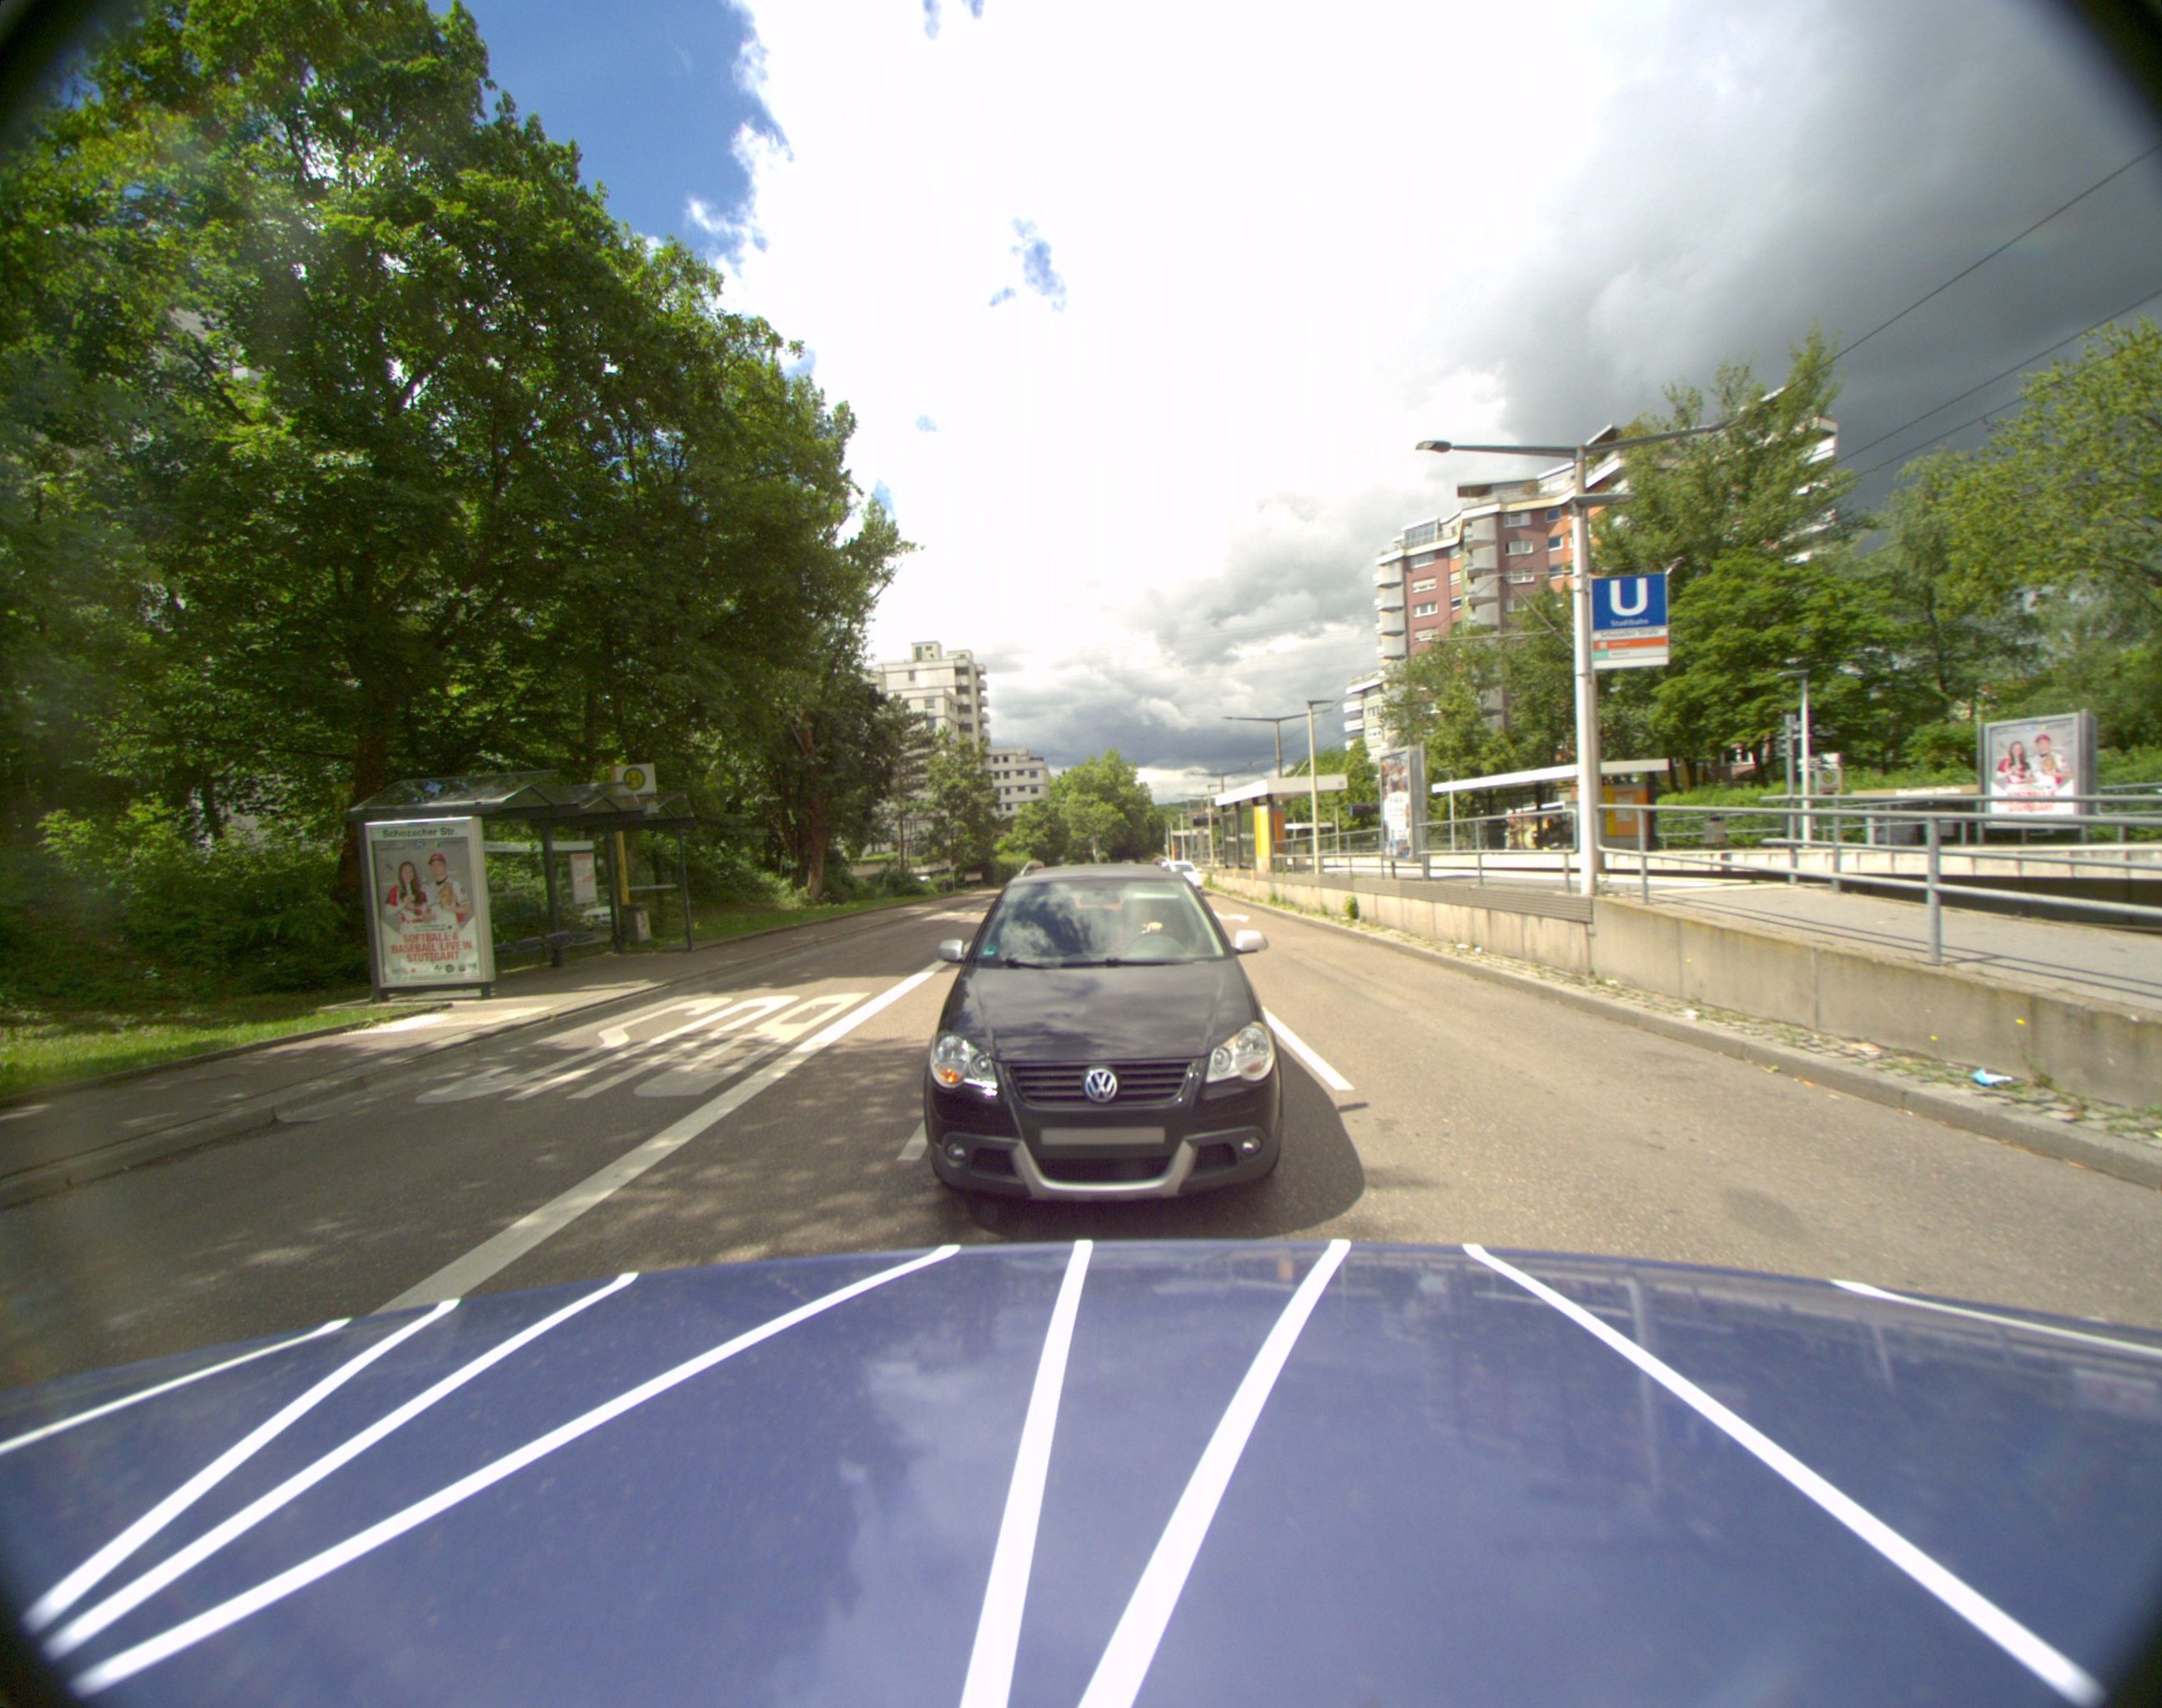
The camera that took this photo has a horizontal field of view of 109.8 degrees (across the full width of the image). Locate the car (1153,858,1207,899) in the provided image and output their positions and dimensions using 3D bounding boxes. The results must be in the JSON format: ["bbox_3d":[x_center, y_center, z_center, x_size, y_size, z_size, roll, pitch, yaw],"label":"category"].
[{"bbox_3d":[4.017,0.975,31.415,1.732,1.453,4.000,-2,1,1],"label":"car"}]

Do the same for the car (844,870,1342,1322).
[{"bbox_3d":[0.080,0.917,4.738,1.732,1.501,4.000,-2,0,1],"label":"car"}]

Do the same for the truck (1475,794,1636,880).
[{"bbox_3d":[20.101,-0.606,32.789,2.420,3.203,7.263,-2,0,1],"label":"truck"}]

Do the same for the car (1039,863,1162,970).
[{"bbox_3d":[0.324,0.930,13.035,1.732,1.453,4.000,-2,0,1],"label":"car"}]

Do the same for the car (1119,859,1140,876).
[{"bbox_3d":[4.634,1.271,72.531,1.732,1.505,4.000,-2,1,1],"label":"car"}]

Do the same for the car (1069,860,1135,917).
[{"bbox_3d":[0.675,0.959,22.686,1.732,1.452,4.001,-2,0,3],"label":"car"}]
